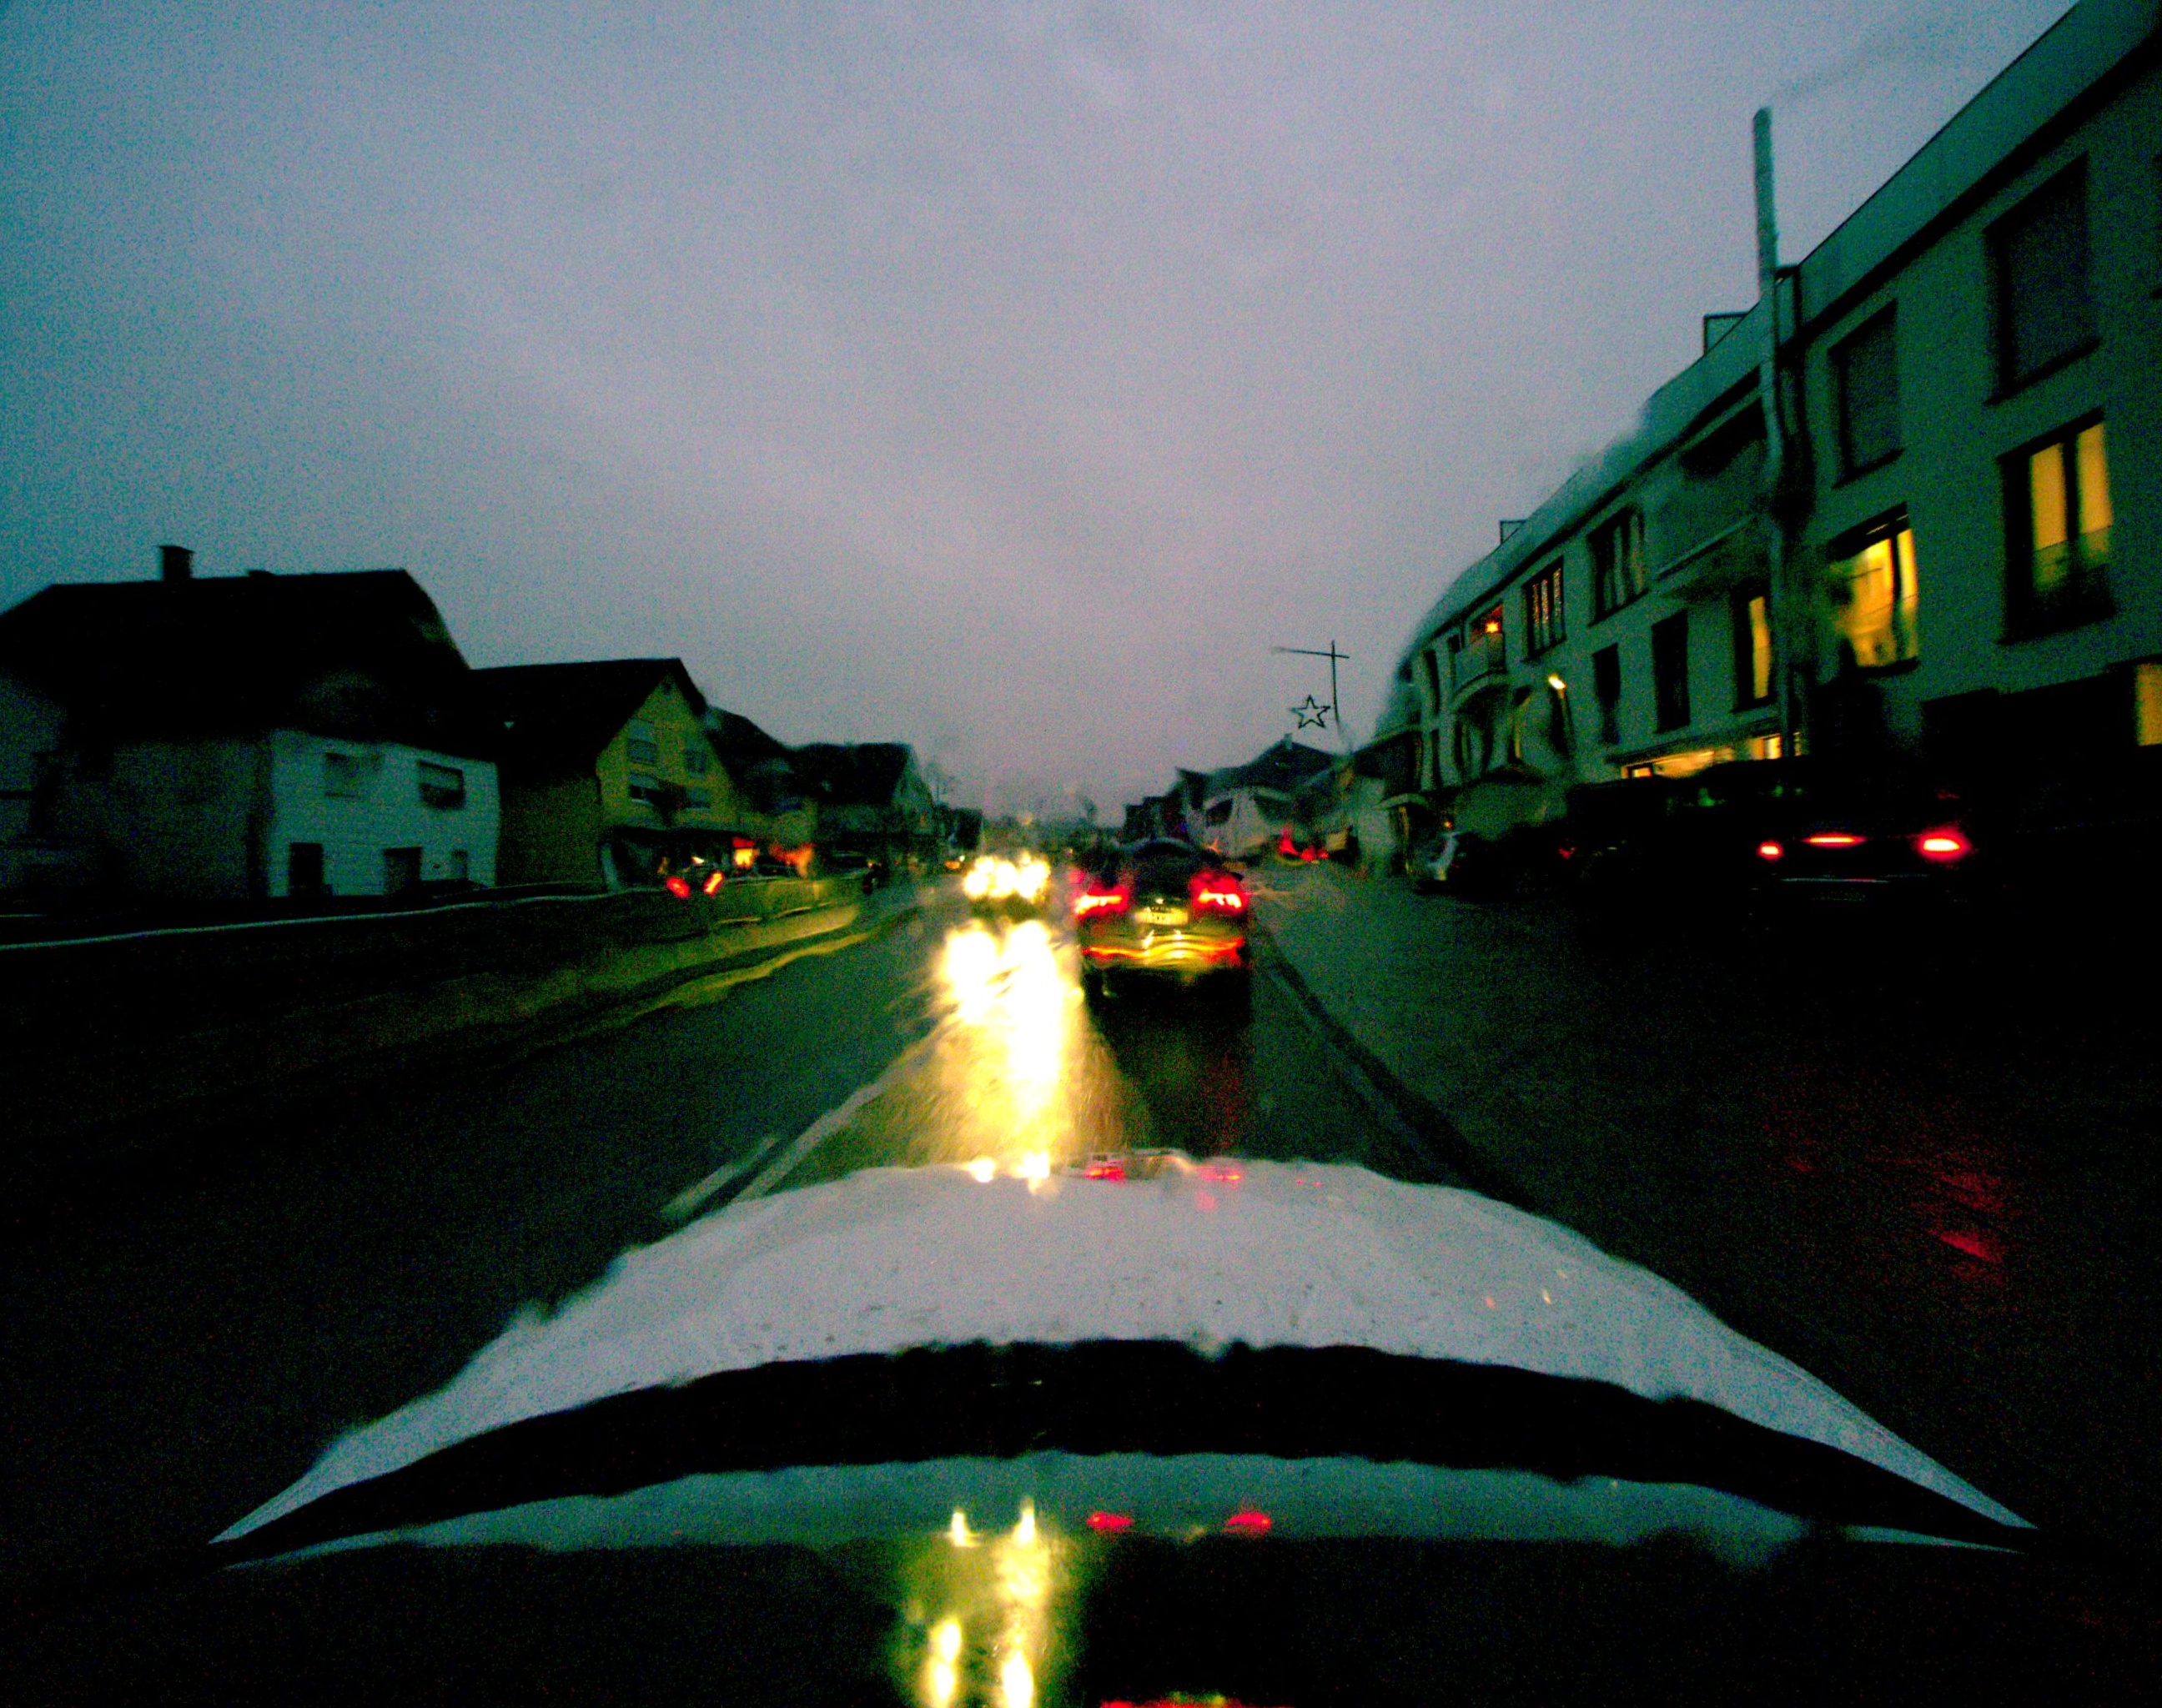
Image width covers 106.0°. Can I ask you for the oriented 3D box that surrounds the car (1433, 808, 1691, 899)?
[{"bbox_3d":[9.797,0.001,16.827,4.192,1.460,1.793,-5,-1,0],"label":"car"}]

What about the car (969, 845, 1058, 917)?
[{"bbox_3d":[-1.665,0.633,21.476,1.729,1.653,4.004,-2,0,3],"label":"car"}]

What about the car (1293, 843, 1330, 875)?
[{"bbox_3d":[16.172,0.292,57.305,2.142,1.991,4.516,-5,-1,14],"label":"car"}]

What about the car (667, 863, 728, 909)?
[{"bbox_3d":[-15.025,1.183,32.093,1.828,1.613,4.027,-2,0,-21],"label":"car"}]

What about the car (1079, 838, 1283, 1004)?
[{"bbox_3d":[1.198,0.635,10.071,1.954,1.594,4.321,-1,0,6],"label":"car"}]

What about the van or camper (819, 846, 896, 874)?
[{"bbox_3d":[-17.340,0.495,63.183,5.485,1.954,2.010,-2,0,19],"label":"van or camper"}]

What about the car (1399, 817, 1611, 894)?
[{"bbox_3d":[10.266,0.042,19.925,4.192,1.460,1.793,-5,-1,0],"label":"car"}]

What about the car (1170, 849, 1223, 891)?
[{"bbox_3d":[4.288,0.544,30.189,1.804,1.412,4.010,-1,0,9],"label":"car"}]

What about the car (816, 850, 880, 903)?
[{"bbox_3d":[-9.461,0.868,32.859,2.045,1.925,4.027,-2,0,-21],"label":"car"}]

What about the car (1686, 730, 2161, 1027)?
[{"bbox_3d":[7.568,0.028,6.418,4.166,1.638,1.802,-8,0,-3],"label":"car"}]

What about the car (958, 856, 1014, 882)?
[{"bbox_3d":[-6.414,0.976,54.686,2.009,1.417,3.957,-6,4,-34],"label":"car"}]

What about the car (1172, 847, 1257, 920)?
[{"bbox_3d":[2.978,0.602,18.782,1.674,1.453,4.007,-2,0,6],"label":"car"}]

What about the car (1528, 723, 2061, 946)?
[{"bbox_3d":[8.426,-0.193,10.044,4.543,1.920,1.952,-7,-1,4],"label":"car"}]

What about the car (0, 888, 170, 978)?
[{"bbox_3d":[-21.238,1.571,15.946,1.903,1.562,4.221,-2,0,3],"label":"car"}]

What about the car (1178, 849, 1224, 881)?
[{"bbox_3d":[5.701,0.492,39.063,1.984,1.391,4.007,-2,0,6],"label":"car"}]

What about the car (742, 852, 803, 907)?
[{"bbox_3d":[-12.122,0.952,32.039,2.045,1.925,4.027,-2,0,-21],"label":"car"}]

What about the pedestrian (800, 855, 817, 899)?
[{"bbox_3d":[-10.876,0.904,32.524,0.498,1.701,0.708,-4,0,-21],"label":"pedestrian"}]
